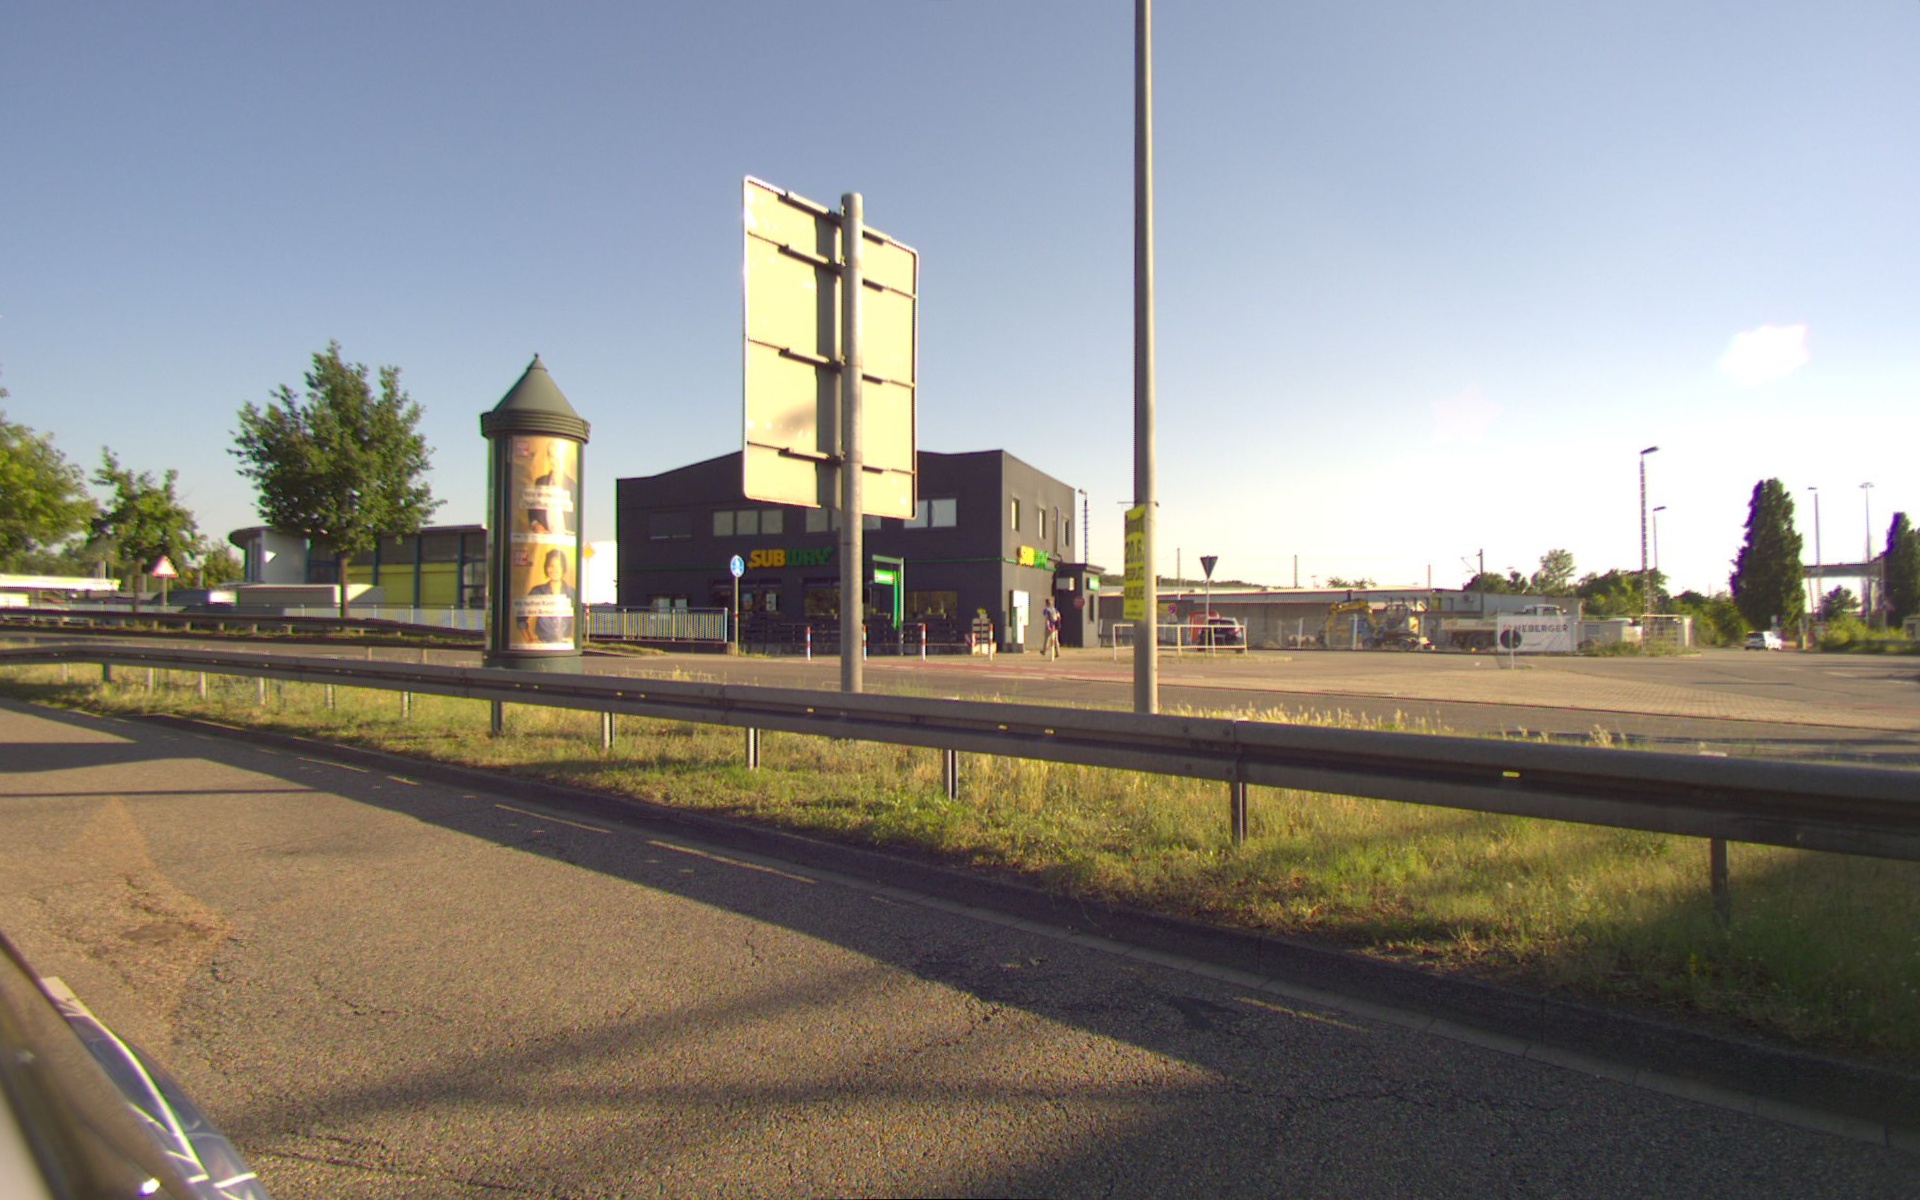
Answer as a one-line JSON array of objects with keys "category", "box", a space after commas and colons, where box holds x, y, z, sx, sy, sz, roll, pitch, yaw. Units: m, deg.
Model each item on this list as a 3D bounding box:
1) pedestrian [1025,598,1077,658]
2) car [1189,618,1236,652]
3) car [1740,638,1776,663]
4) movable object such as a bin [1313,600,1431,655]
[{"category": "pedestrian", "box": [2.890, 0.876, 32.151, 1.085, 1.849, 1.258, -1, 0, 42]}, {"category": "car", "box": [16.038, 2.182, 64.204, 1.991, 2.029, 3.962, -1, 0, 28]}, {"category": "car", "box": [69.610, 4.379, 88.225, 2.001, 2.029, 3.941, -1, 0, 45]}, {"category": "movable object such as a bin", "box": [25.328, 1.644, 62.392, 6.587, 3.241, 2.428, -1, 0, 23]}]
